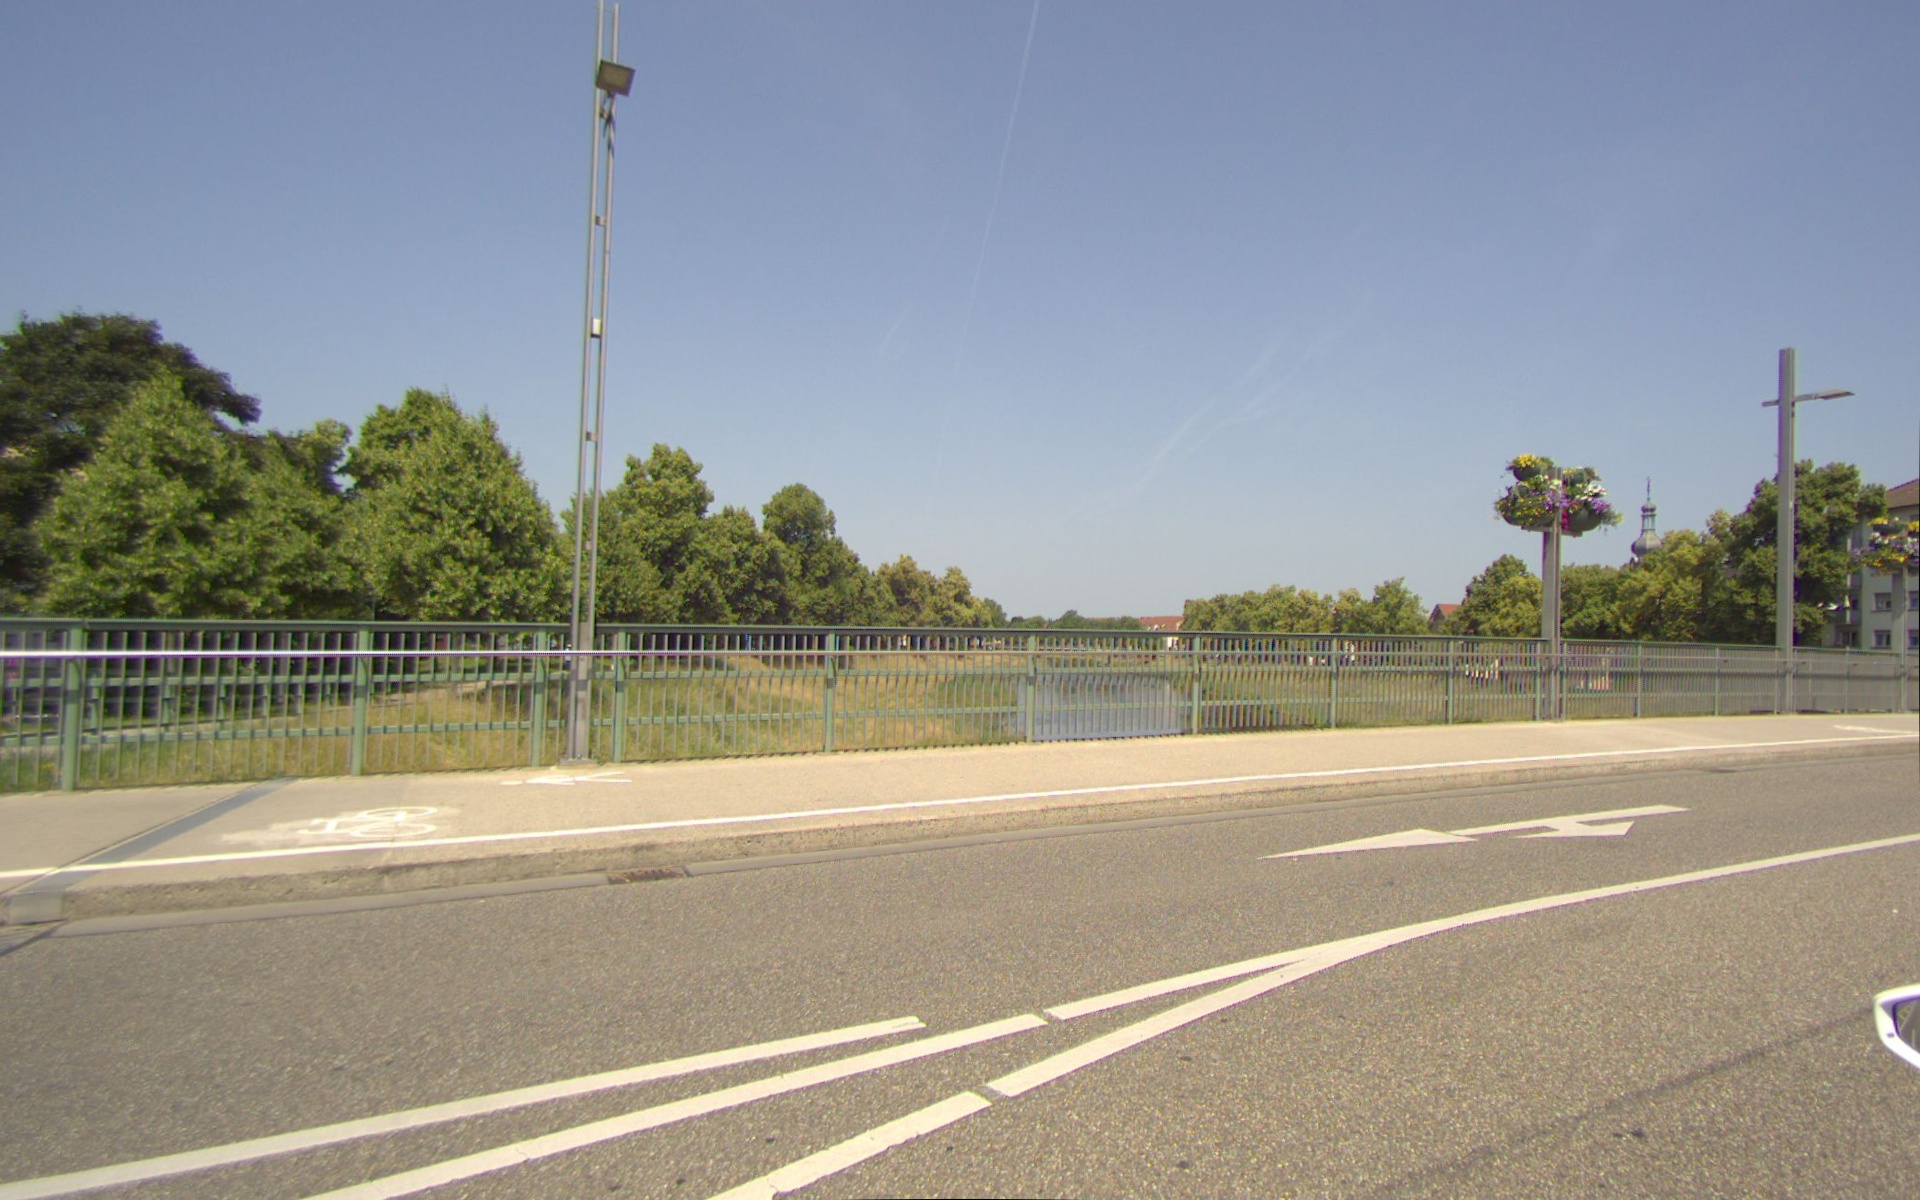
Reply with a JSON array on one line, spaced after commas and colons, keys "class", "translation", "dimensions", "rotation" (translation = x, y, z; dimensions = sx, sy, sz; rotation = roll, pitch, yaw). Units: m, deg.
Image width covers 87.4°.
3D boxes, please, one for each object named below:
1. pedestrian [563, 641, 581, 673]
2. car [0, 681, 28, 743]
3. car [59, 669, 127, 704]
[{"class": "pedestrian", "translation": [-24.848, 3.652, 64.355], "dimensions": [0.873, 2.040, 0.720], "rotation": [3, -1, -31]}, {"class": "car", "translation": [-27.552, 3.098, 27.468], "dimensions": [1.975, 1.671, 3.973], "rotation": [2, -3, -27]}, {"class": "car", "translation": [-47.889, 4.767, 55.551], "dimensions": [1.976, 1.671, 3.970], "rotation": [2, -2, -29]}]
